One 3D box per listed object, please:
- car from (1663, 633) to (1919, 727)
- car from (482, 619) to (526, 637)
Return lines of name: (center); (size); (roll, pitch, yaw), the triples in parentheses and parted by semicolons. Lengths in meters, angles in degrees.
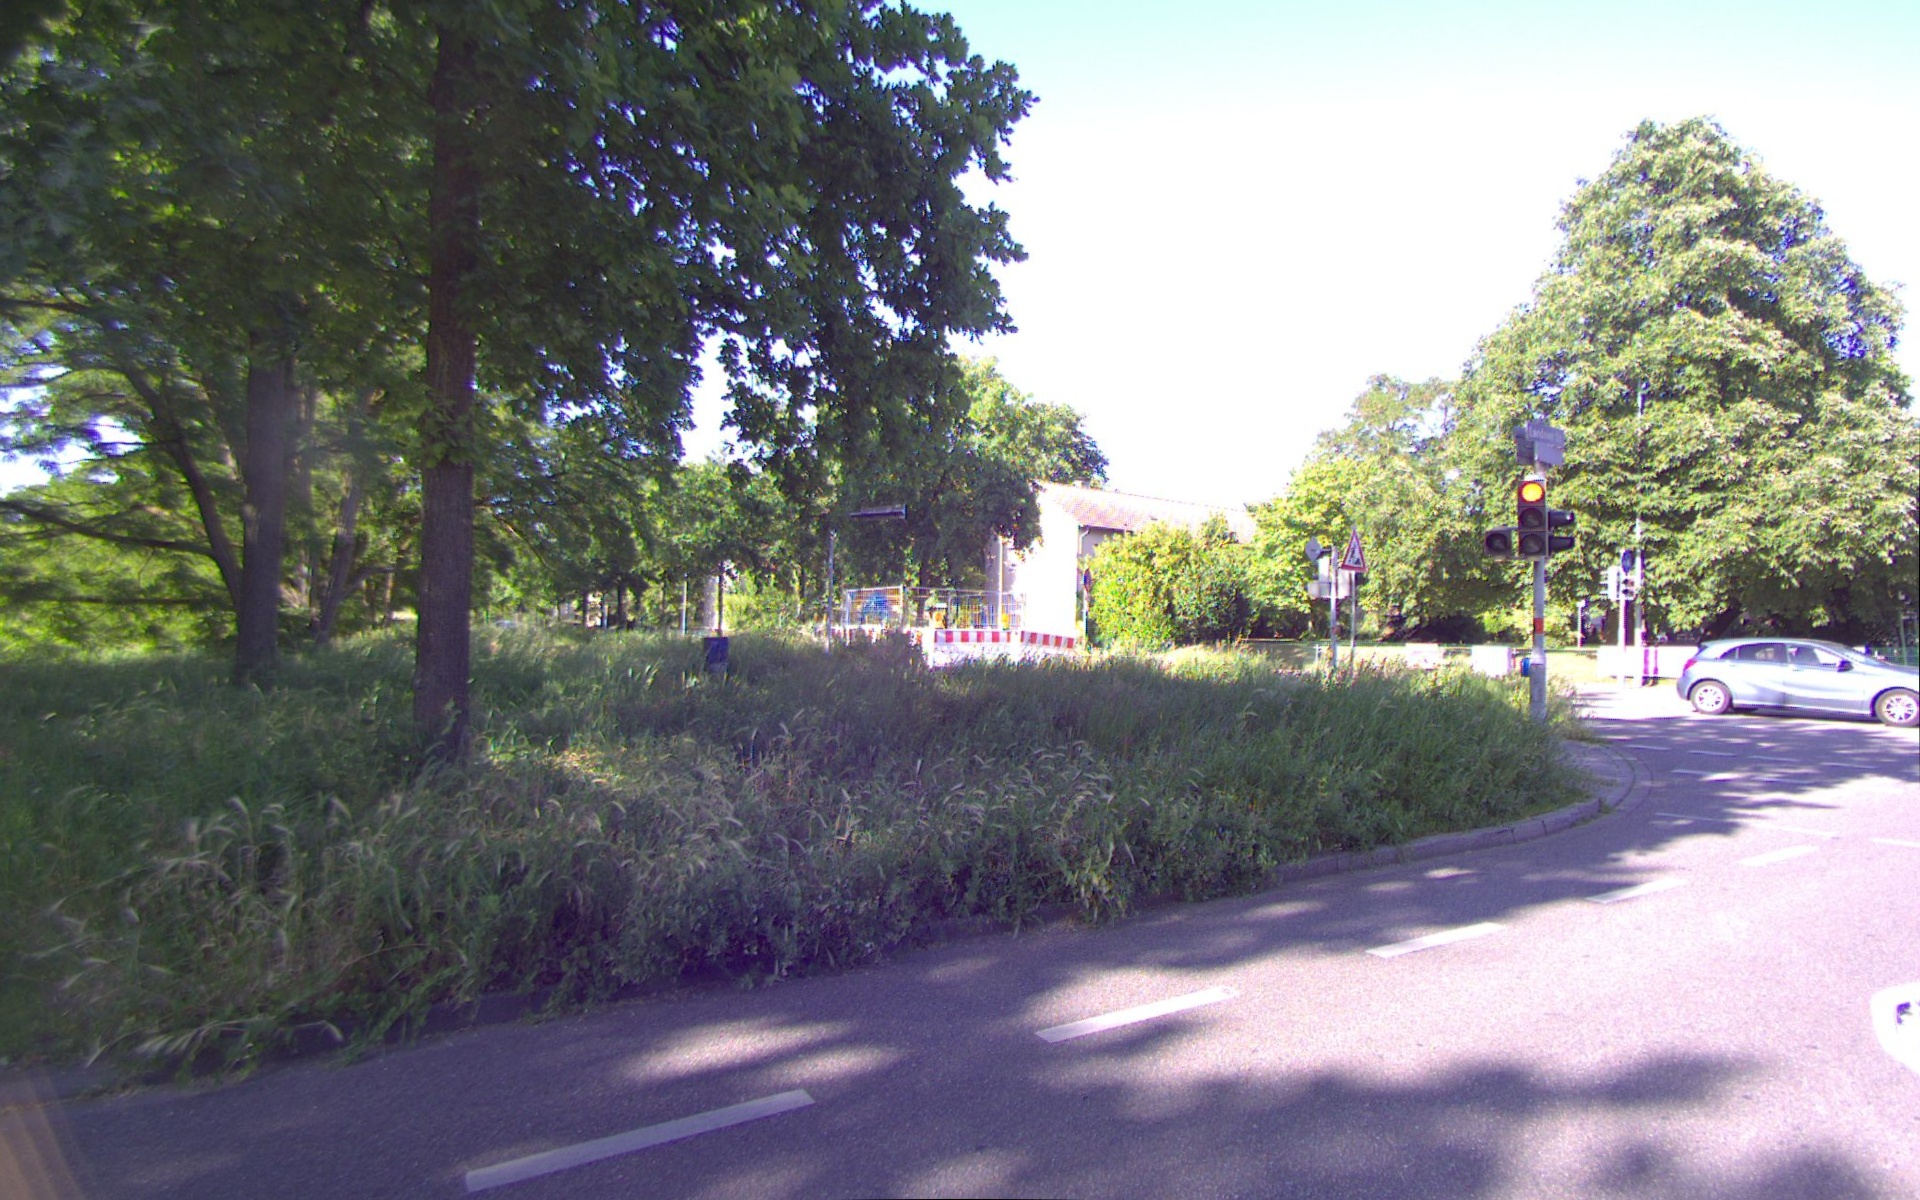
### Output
car: (15.431, 1.352, 18.000); (1.892, 1.508, 4.261); (1, -2, -31)
car: (-47.371, 2.872, 104.498); (3.939, 1.673, 1.991); (2, 0, -20)
